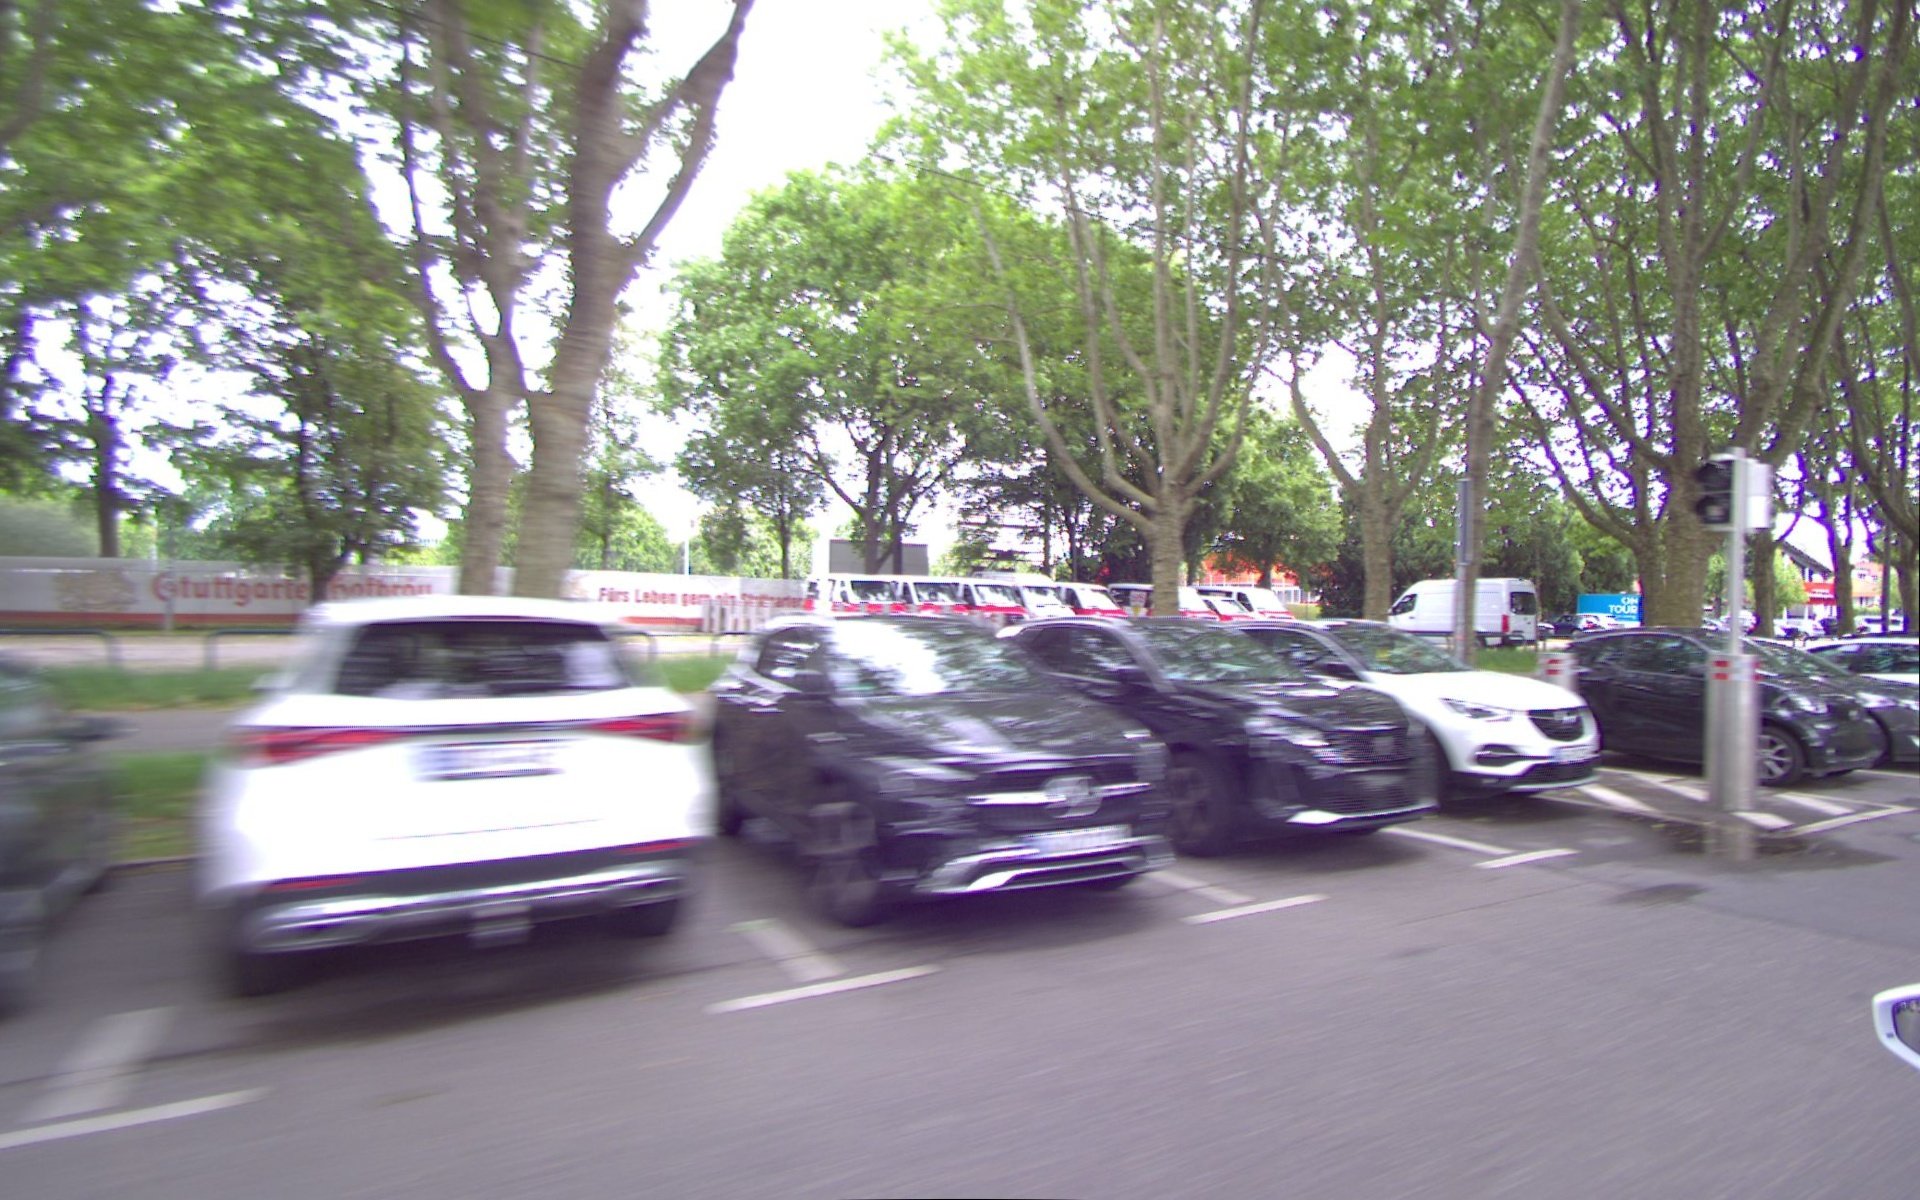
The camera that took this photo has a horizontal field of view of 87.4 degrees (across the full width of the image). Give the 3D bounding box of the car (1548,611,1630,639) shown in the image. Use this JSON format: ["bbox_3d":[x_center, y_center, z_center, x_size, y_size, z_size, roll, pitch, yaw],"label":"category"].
[{"bbox_3d":[37.499,1.482,59.959,1.692,1.506,3.783,1,1,-30],"label":"car"}]

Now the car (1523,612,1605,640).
[{"bbox_3d":[35.280,1.498,58.786,1.659,1.506,3.783,1,1,-30],"label":"car"}]

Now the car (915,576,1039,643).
[{"bbox_3d":[0.518,0.294,38.393,1.976,2.349,5.974,1,1,-29],"label":"car"}]

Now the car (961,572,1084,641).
[{"bbox_3d":[2.384,0.204,40.378,1.976,2.561,5.974,1,1,-29],"label":"car"}]

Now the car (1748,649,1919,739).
[{"bbox_3d":[14.067,1.381,15.009,1.568,1.218,3.297,1,-2,-32],"label":"car"}]

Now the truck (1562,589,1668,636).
[{"bbox_3d":[41.472,0.745,63.765,2.179,2.779,5.213,1,1,-29],"label":"truck"}]

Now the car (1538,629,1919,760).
[{"bbox_3d":[9.888,1.051,12.542,1.675,1.383,4.378,1,-2,-32],"label":"car"}]

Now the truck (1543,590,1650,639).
[{"bbox_3d":[39.274,0.853,62.110,1.905,2.779,5.289,1,1,-29],"label":"truck"}]

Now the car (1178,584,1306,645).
[{"bbox_3d":[12.841,0.606,46.207,1.976,2.561,5.974,1,1,-29],"label":"car"}]

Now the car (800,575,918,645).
[{"bbox_3d":[-3.741,0.274,35.917,1.976,2.283,5.974,1,1,-29],"label":"car"}]

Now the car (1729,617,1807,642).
[{"bbox_3d":[56.804,2.054,70.685,1.668,1.611,3.981,1,1,-20],"label":"car"}]

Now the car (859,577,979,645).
[{"bbox_3d":[-1.650,0.328,37.262,1.976,2.283,5.974,1,1,-29],"label":"car"}]

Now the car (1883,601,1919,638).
[{"bbox_3d":[59.947,1.232,61.322,1.518,2.262,5.052,1,1,-30],"label":"car"}]

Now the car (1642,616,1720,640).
[{"bbox_3d":[45.863,1.775,63.970,1.518,1.368,3.736,1,1,-30],"label":"car"}]

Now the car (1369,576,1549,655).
[{"bbox_3d":[17.970,0.479,36.552,1.975,2.632,5.761,1,1,-28],"label":"car"}]

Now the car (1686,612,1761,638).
[{"bbox_3d":[51.888,1.661,68.299,1.518,1.611,3.735,1,1,-31],"label":"car"}]

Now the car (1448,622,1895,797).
[{"bbox_3d":[7.821,1.078,11.414,1.675,1.629,3.807,1,-2,-32],"label":"car"}]

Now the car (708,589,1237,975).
[{"bbox_3d":[-0.289,0.832,6.485,1.776,1.629,4.054,1,-2,-27],"label":"car"}]

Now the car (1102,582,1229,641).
[{"bbox_3d":[8.754,0.436,43.462,1.976,2.361,5.974,1,1,-29],"label":"car"}]

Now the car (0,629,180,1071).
[{"bbox_3d":[-4.909,0.879,4.598,1.675,1.491,3.807,1,-2,-32],"label":"car"}]

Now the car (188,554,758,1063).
[{"bbox_3d":[-2.679,0.736,5.413,1.931,1.649,3.807,1,-2,-32],"label":"car"}]

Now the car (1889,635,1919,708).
[{"bbox_3d":[20.684,1.412,19.299,1.781,1.448,3.809,1,-2,-30],"label":"car"}]

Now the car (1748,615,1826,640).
[{"bbox_3d":[59.075,1.926,71.855,1.668,1.611,3.981,1,1,-20],"label":"car"}]

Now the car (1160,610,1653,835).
[{"bbox_3d":[3.891,0.962,9.453,1.675,1.629,4.022,2,-2,-32],"label":"car"}]

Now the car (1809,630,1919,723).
[{"bbox_3d":[16.684,1.261,16.542,1.675,1.517,3.807,1,-2,-32],"label":"car"}]

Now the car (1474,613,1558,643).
[{"bbox_3d":[31.237,1.568,56.501,1.659,1.506,3.783,1,1,-30],"label":"car"}]

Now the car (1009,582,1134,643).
[{"bbox_3d":[4.443,0.448,41.256,1.976,2.270,5.974,1,1,-29],"label":"car"}]

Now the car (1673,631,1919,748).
[{"bbox_3d":[12.211,1.145,13.617,1.675,1.448,3.807,1,-2,-32],"label":"car"}]

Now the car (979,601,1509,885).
[{"bbox_3d":[1.930,0.880,7.894,1.814,1.629,3.807,1,-2,-32],"label":"car"}]

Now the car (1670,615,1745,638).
[{"bbox_3d":[49.836,1.732,67.050,1.518,1.368,3.735,1,1,-31],"label":"car"}]

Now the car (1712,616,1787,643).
[{"bbox_3d":[54.281,2.010,69.135,1.518,1.611,3.735,1,1,-31],"label":"car"}]

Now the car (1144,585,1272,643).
[{"bbox_3d":[10.865,0.552,44.571,1.976,2.336,5.974,1,1,-29],"label":"car"}]

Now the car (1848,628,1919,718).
[{"bbox_3d":[18.561,1.308,17.865,1.839,1.629,3.806,1,-2,-32],"label":"car"}]
